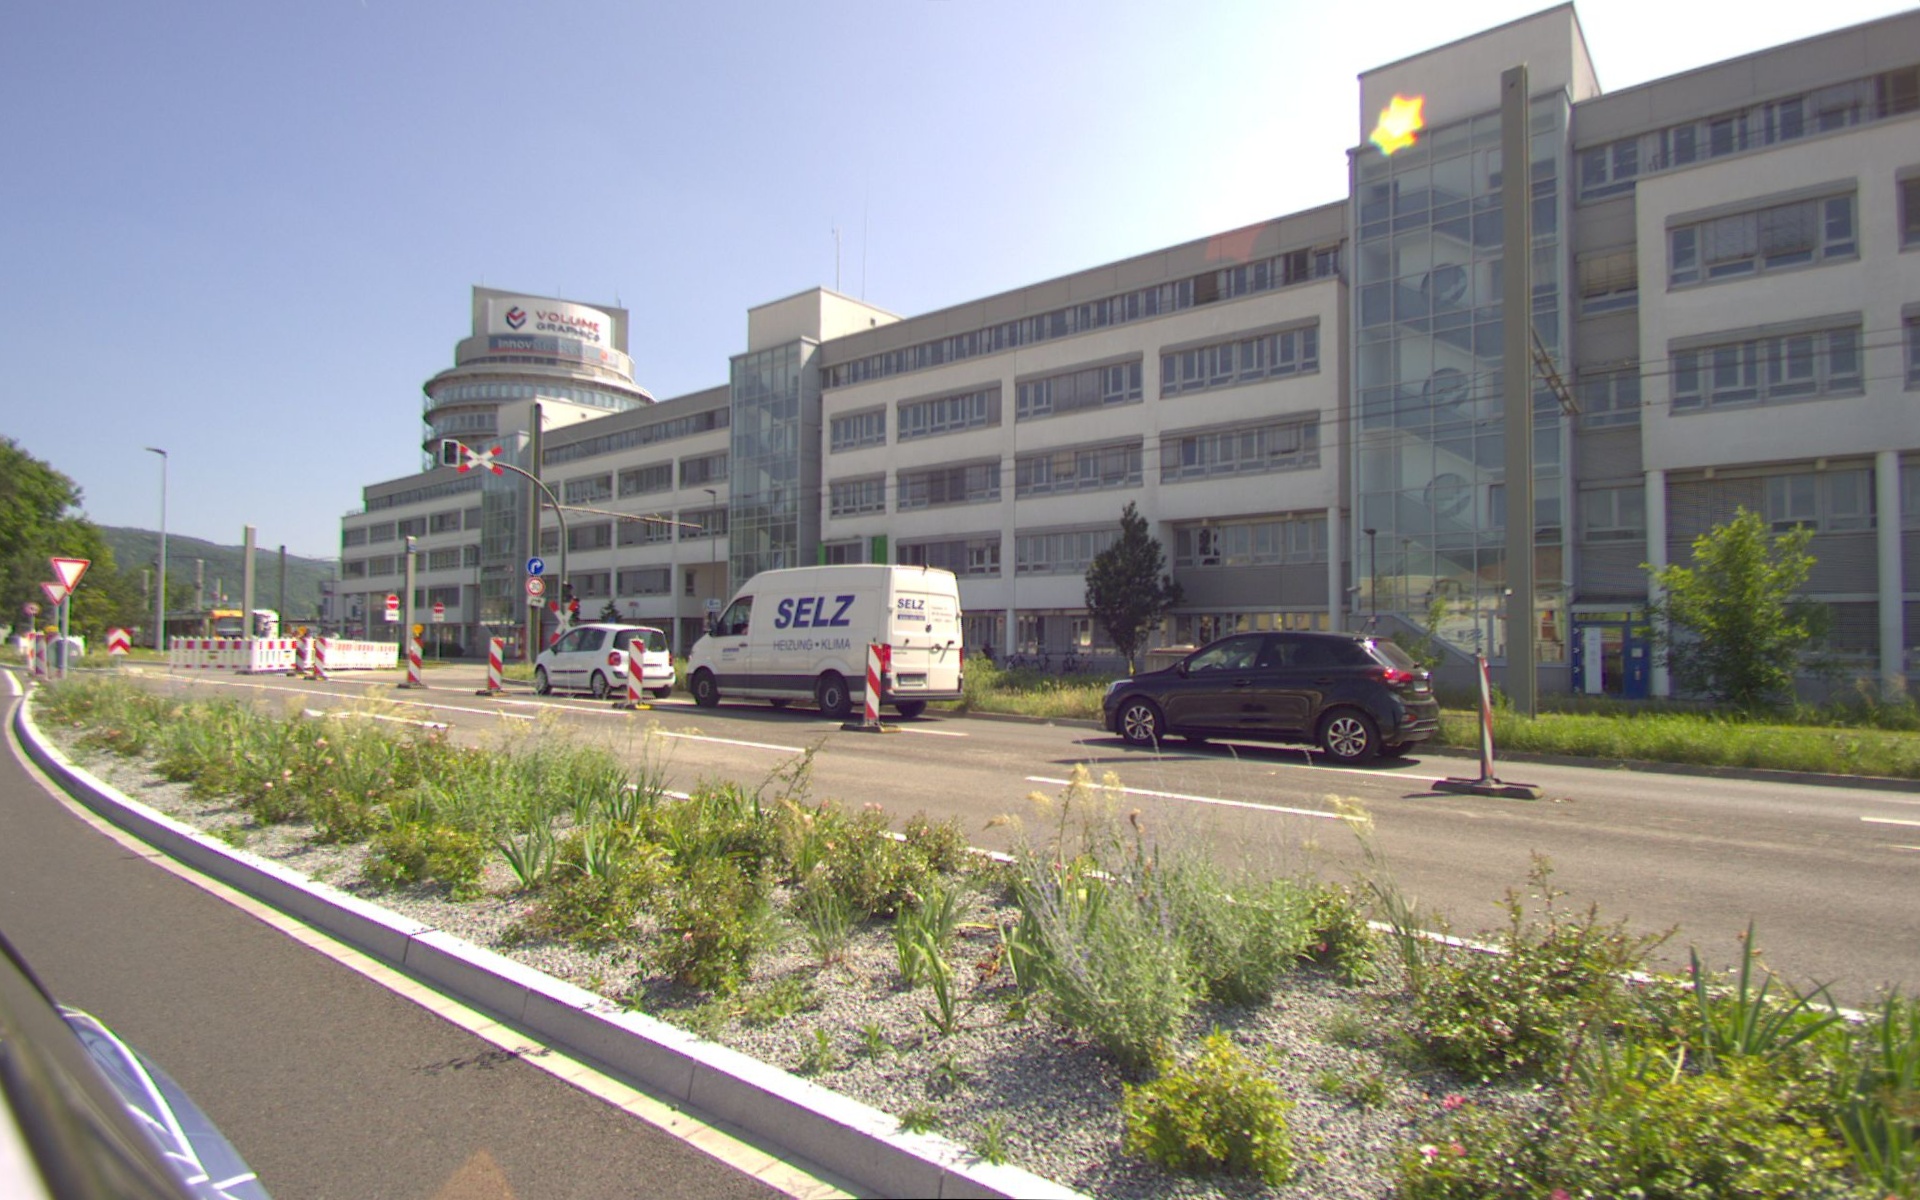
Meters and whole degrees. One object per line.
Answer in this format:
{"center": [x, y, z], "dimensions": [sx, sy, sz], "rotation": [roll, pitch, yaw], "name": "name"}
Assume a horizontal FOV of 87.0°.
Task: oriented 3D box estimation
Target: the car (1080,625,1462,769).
{"center": [3.640, 1.084, 12.310], "dimensions": [4.190, 1.468, 1.529], "rotation": [-2, -5, 41], "name": "car"}

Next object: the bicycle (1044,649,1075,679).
{"center": [4.263, 2.733, 43.260], "dimensions": [0.438, 1.198, 1.629], "rotation": [-2, -2, 41], "name": "bicycle"}

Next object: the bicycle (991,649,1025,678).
{"center": [2.164, 2.815, 45.200], "dimensions": [1.627, 1.198, 0.522], "rotation": [0, -2, -45], "name": "bicycle"}

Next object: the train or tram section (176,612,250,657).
{"center": [-61.358, 2.799, 83.024], "dimensions": [11.778, 3.477, 2.597], "rotation": [-2, -1, 42], "name": "train or tram section"}

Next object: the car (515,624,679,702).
{"center": [-8.024, 1.372, 22.233], "dimensions": [3.975, 1.553, 1.564], "rotation": [-2, -5, 41], "name": "car"}

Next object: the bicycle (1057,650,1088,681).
{"center": [4.769, 2.745, 42.684], "dimensions": [0.438, 1.198, 1.630], "rotation": [-2, -2, 40], "name": "bicycle"}

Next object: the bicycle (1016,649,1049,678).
{"center": [3.171, 2.775, 44.242], "dimensions": [1.627, 1.198, 0.438], "rotation": [0, -2, -45], "name": "bicycle"}

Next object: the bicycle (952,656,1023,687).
{"center": [0.983, 2.624, 37.422], "dimensions": [2.830, 1.025, 0.746], "rotation": [-1, -2, 42], "name": "bicycle"}

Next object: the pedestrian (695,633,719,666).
{"center": [-14.291, 2.800, 57.054], "dimensions": [1.108, 1.840, 0.758], "rotation": [-3, -1, 40], "name": "pedestrian"}

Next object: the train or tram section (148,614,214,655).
{"center": [-70.081, 3.064, 90.911], "dimensions": [11.778, 3.477, 2.597], "rotation": [-2, -1, 42], "name": "train or tram section"}

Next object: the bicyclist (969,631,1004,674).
{"center": [0.977, 1.943, 37.443], "dimensions": [1.076, 1.551, 0.746], "rotation": [-1, -2, 41], "name": "bicyclist"}

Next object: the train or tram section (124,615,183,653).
{"center": [-78.829, 3.325, 98.801], "dimensions": [11.778, 3.477, 2.597], "rotation": [-2, -1, 42], "name": "train or tram section"}

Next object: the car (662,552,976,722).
{"center": [-2.727, 0.709, 18.238], "dimensions": [6.192, 2.598, 2.009], "rotation": [-2, -5, 42], "name": "car"}
